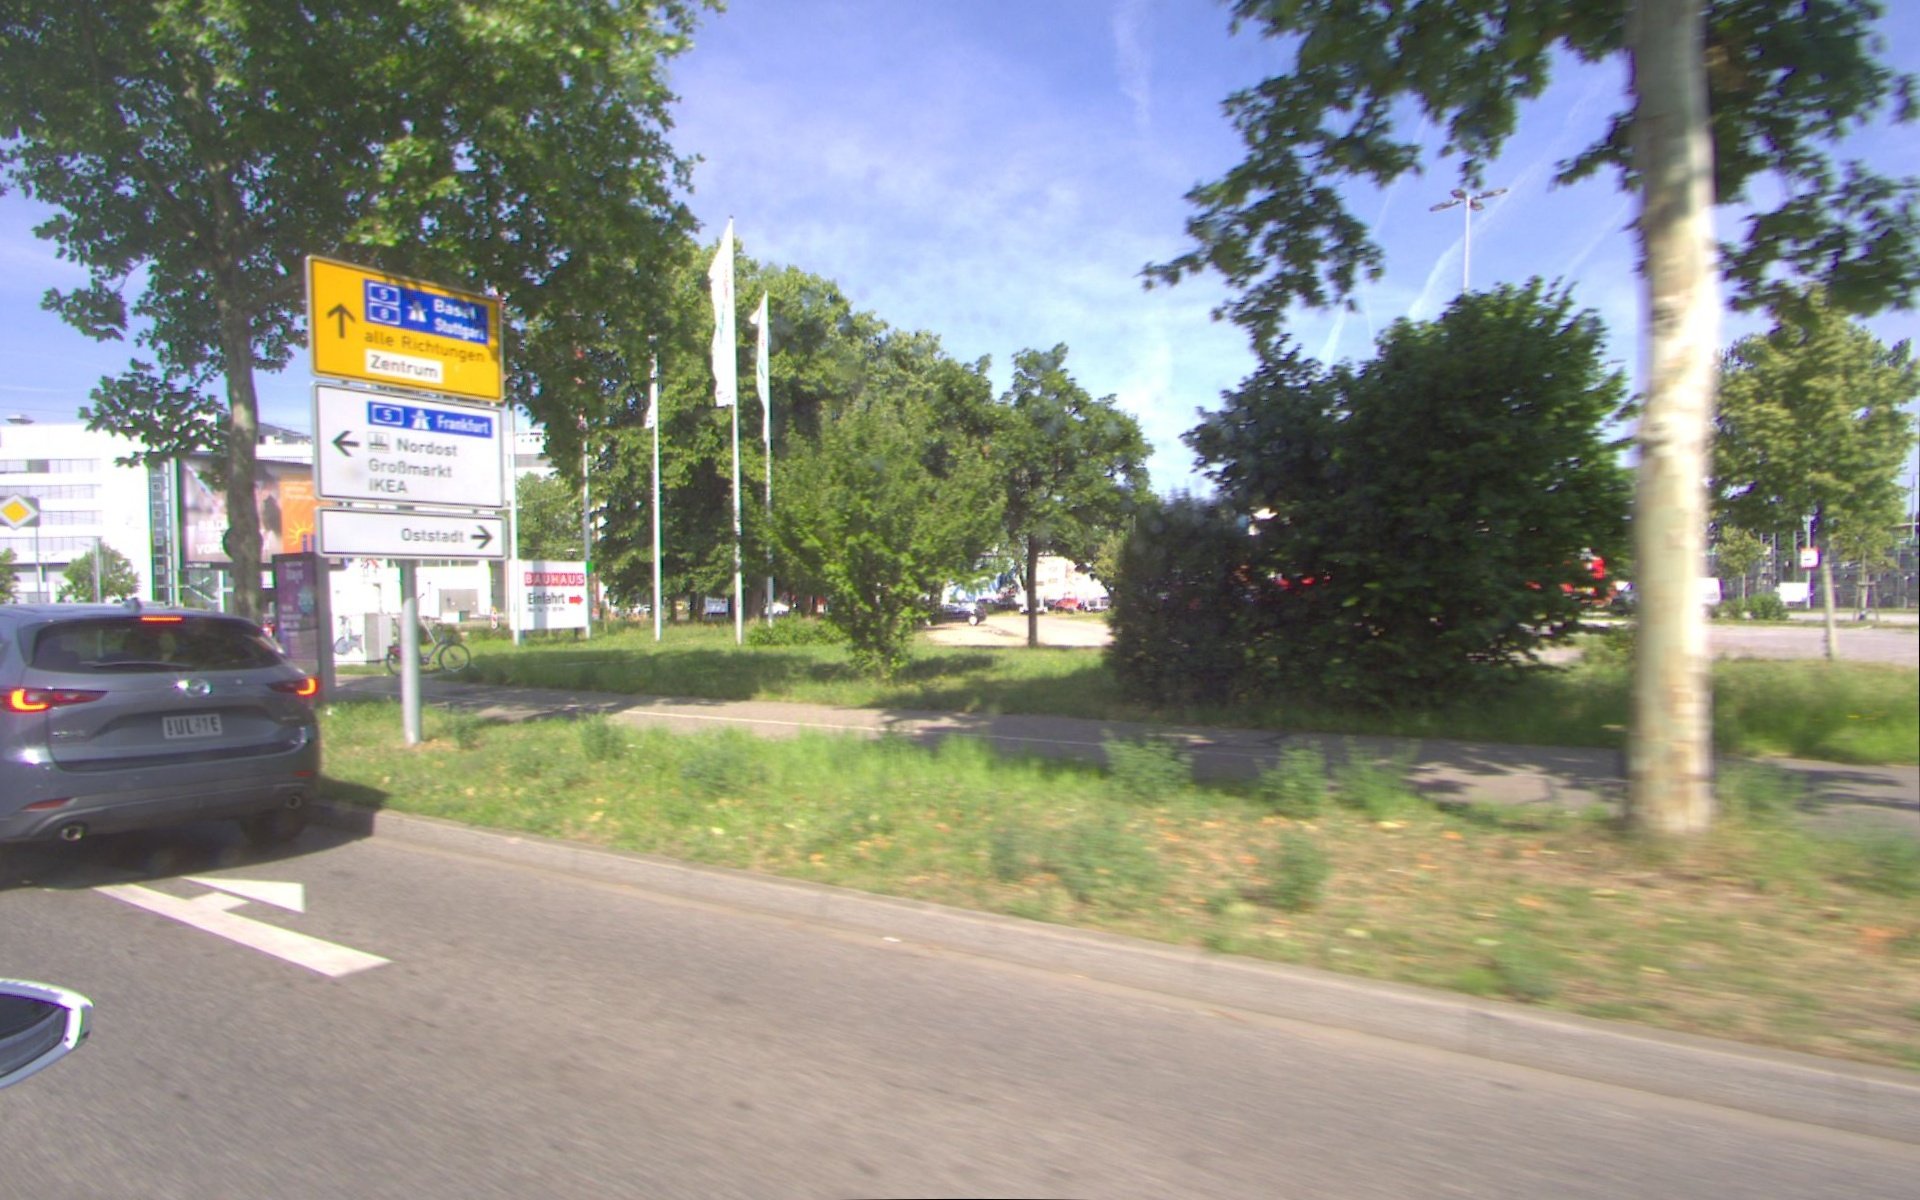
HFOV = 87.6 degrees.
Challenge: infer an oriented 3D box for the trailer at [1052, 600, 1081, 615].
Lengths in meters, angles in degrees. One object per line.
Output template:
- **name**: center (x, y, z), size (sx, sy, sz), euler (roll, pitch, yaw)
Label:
- **trailer**: center (9.352, 0.675, 88.191), size (1.560, 1.304, 4.410), euler (-1, 0, -7)

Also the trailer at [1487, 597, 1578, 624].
- **trailer**: center (27.916, 0.491, 49.015), size (2.029, 1.137, 4.031), euler (-3, 0, -2)

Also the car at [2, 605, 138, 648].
- **car**: center (-38.211, 1.097, 43.156), size (1.879, 1.711, 4.625), euler (-1, 0, -3)

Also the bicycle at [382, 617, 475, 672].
- **bicycle**: center (-12.026, 0.990, 22.692), size (1.770, 1.123, 0.499), euler (-3, 2, -39)

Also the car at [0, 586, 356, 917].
- **car**: center (-6.313, 0.831, 7.012), size (4.432, 1.680, 1.763), euler (-1, -2, 32)

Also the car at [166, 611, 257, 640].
- **car**: center (-41.710, 1.391, 55.937), size (1.747, 1.463, 4.625), euler (-1, 0, -3)

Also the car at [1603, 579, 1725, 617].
- **car**: center (34.185, -0.108, 48.695), size (4.737, 1.841, 1.873), euler (0, 2, -6)

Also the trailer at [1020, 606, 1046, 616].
- **trailer**: center (6.332, 0.984, 87.466), size (2.059, 0.792, 4.411), euler (-1, 0, 1)

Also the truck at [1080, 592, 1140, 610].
- **truck**: center (15.782, 0.112, 105.407), size (5.888, 1.855, 2.188), euler (0, -2, -2)

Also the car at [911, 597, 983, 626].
- **car**: center (-0.707, 0.662, 57.657), size (3.972, 1.608, 1.730), euler (-1, 0, 5)

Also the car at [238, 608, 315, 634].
- **car**: center (-41.925, 1.255, 61.580), size (1.747, 1.463, 4.625), euler (-1, 0, -3)
